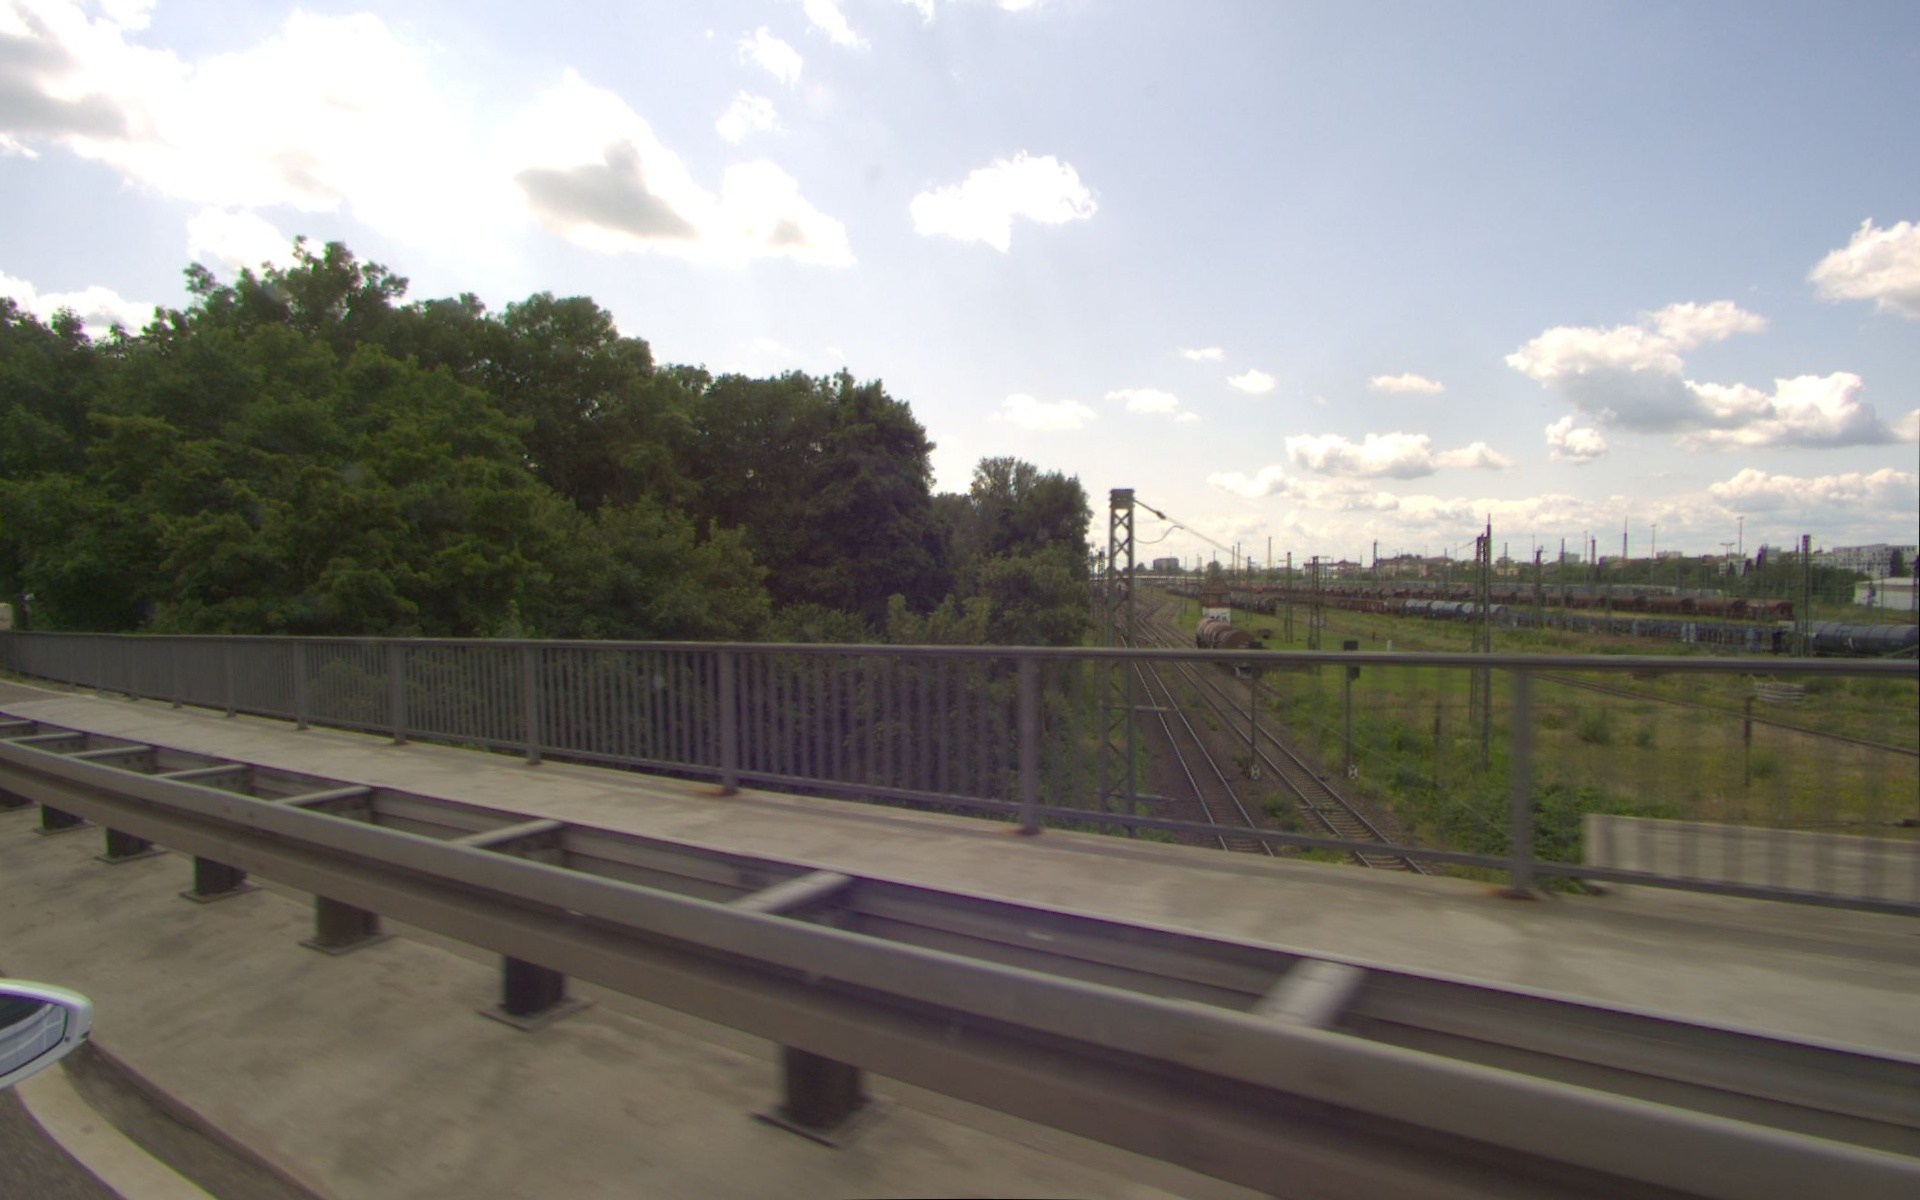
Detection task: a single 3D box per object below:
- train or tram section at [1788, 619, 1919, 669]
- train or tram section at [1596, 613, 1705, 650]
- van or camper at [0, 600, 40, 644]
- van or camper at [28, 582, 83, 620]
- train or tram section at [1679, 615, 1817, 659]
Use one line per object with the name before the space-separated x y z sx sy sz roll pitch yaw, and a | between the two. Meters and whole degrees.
train or tram section | 92.134 4.292 101.363 3.150 4.208 15.961 -3 0 0
train or tram section | 91.547 4.025 133.380 3.150 4.208 15.961 -3 0 -1
van or camper | -57.919 1.295 60.919 1.971 2.624 4.069 1 -1 -29
van or camper | -92.600 0.150 102.622 2.876 3.662 8.078 2 -1 -34
train or tram section | 91.874 4.172 117.382 3.150 4.208 15.961 -3 0 -1
